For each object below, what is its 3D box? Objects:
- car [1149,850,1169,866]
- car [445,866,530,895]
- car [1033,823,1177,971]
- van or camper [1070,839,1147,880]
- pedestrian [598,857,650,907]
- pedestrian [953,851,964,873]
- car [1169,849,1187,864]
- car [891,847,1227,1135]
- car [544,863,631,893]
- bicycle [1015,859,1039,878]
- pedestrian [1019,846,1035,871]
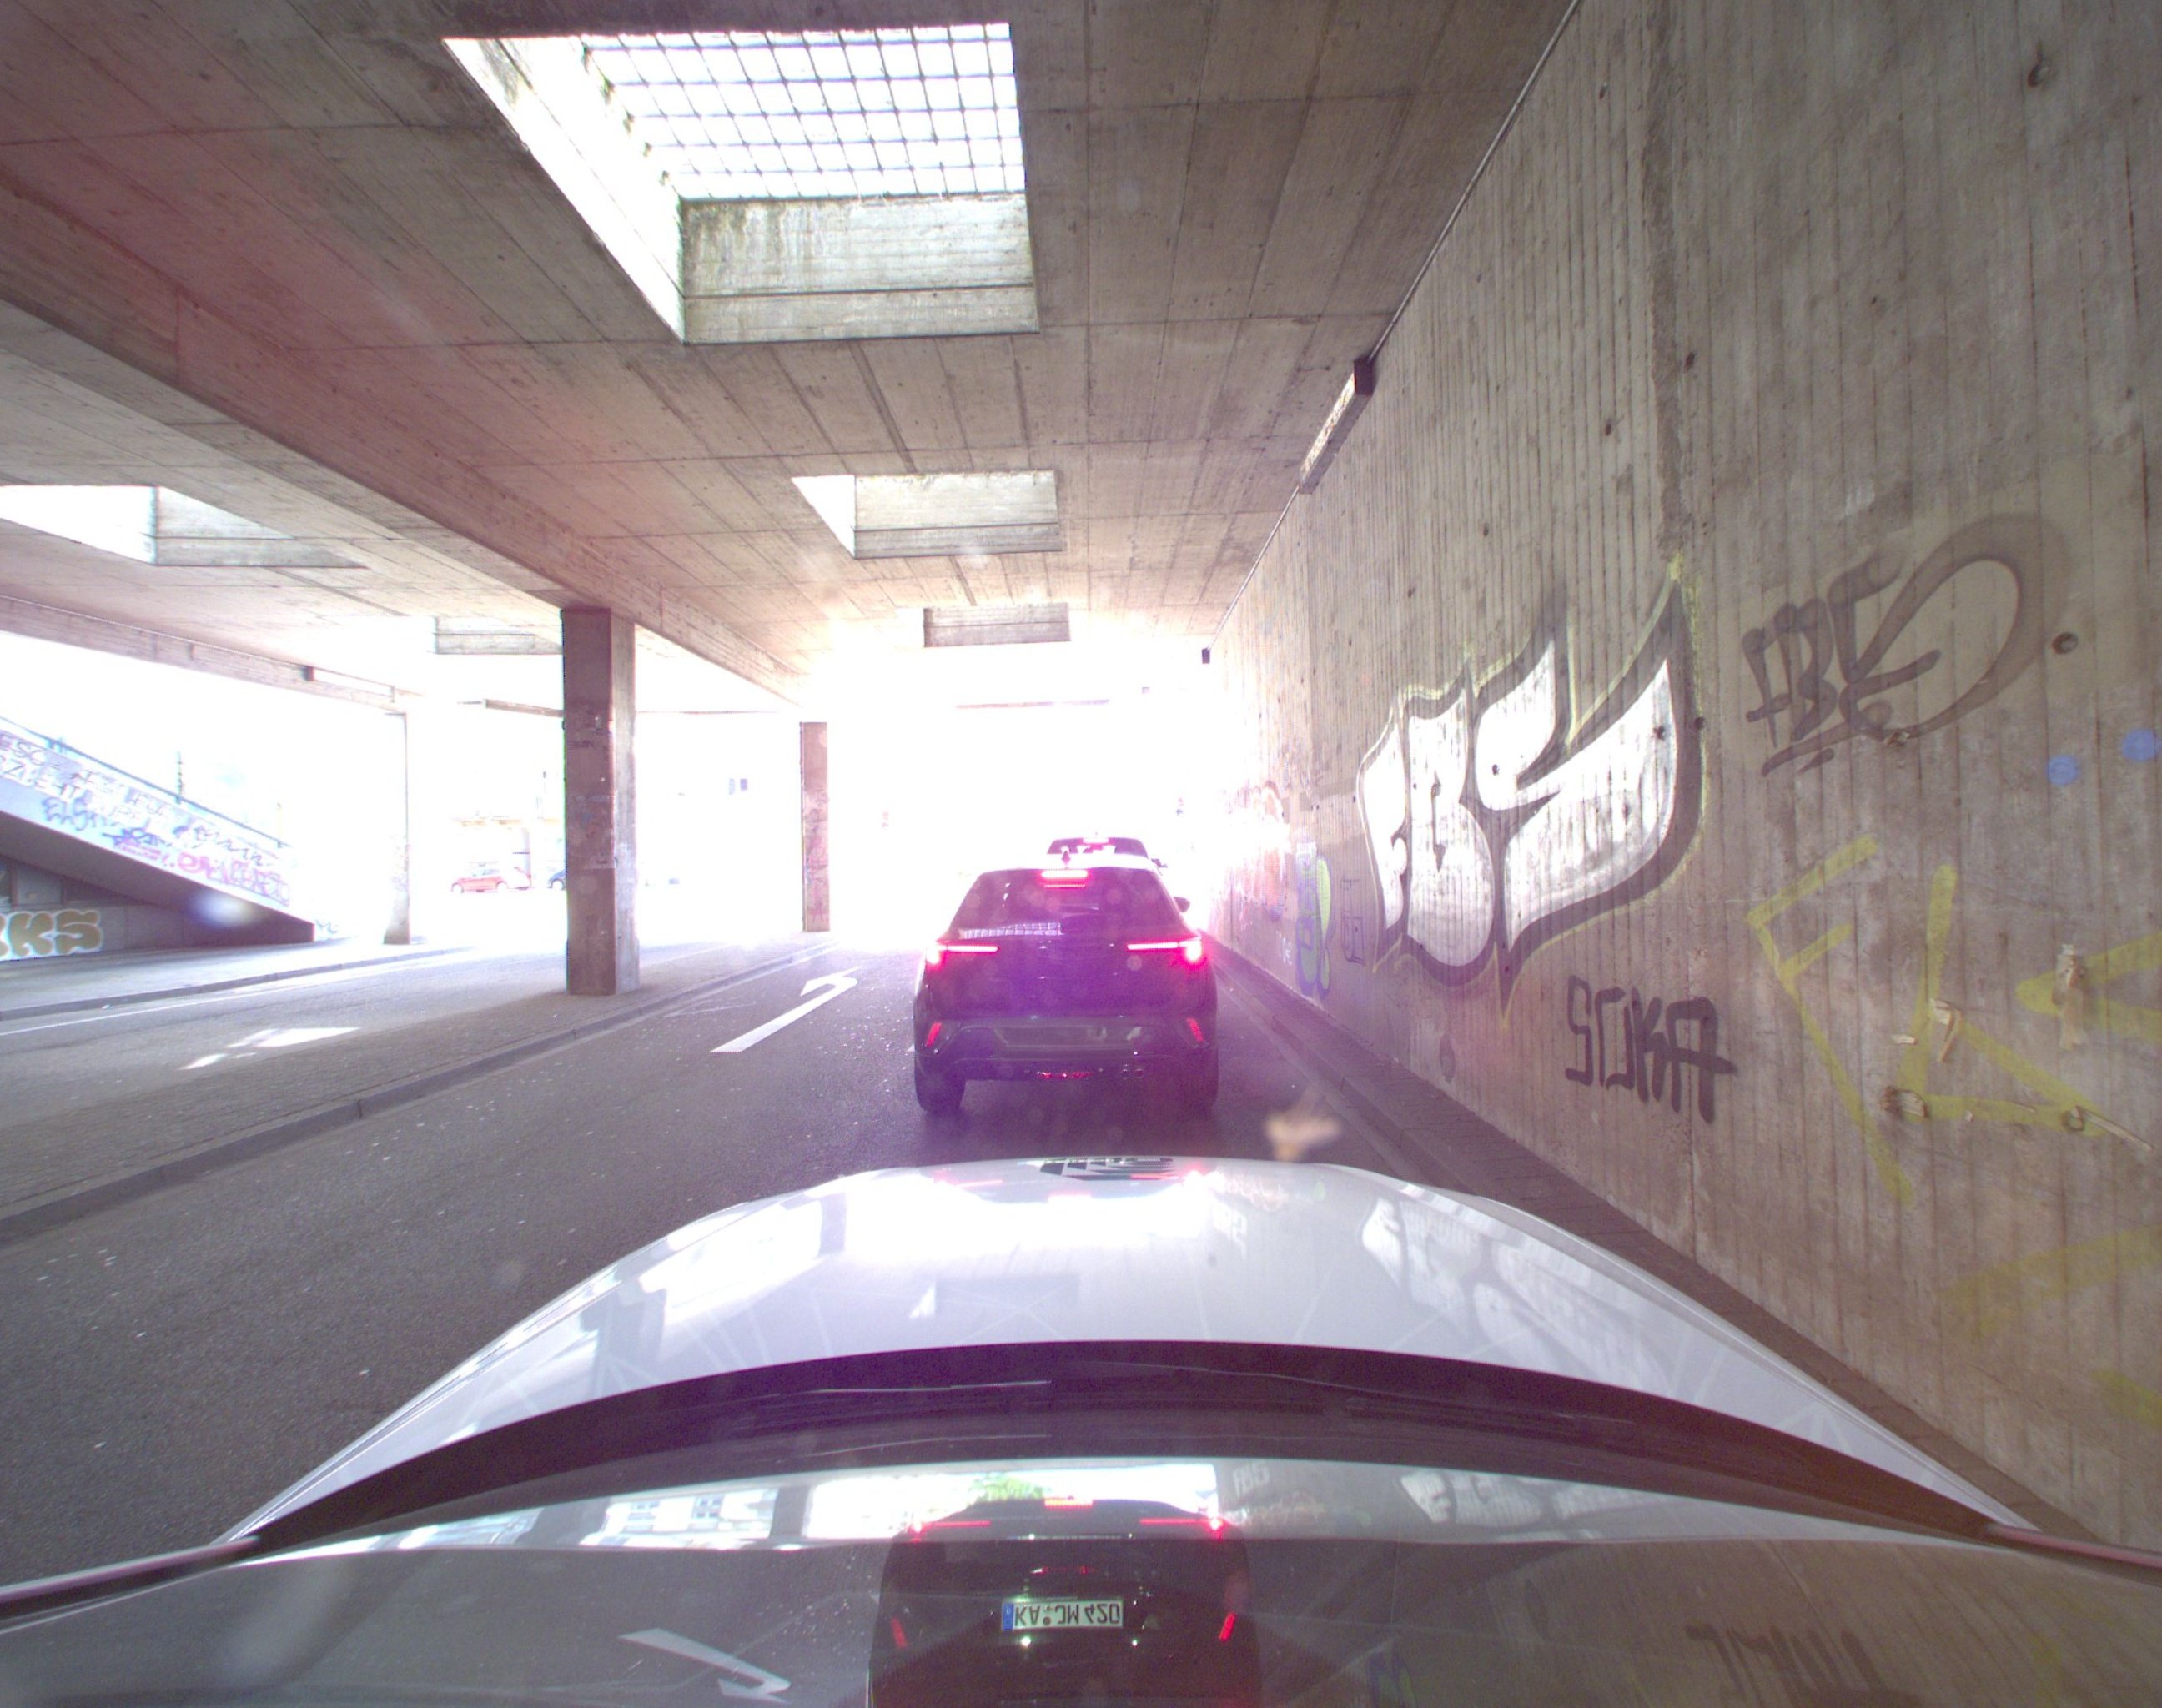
[{"bbox_3d":[7.496,0.396,78.022,1.588,1.452,3.807,-1,0,11],"label":"car"},{"bbox_3d":[-32.844,1.459,45.119,3.519,1.506,1.563,-2,0,2],"label":"car"},{"bbox_3d":[0.363,0.536,12.138,1.779,1.833,3.962,-1,0,2],"label":"car"},{"bbox_3d":[1.504,0.284,43.668,3.854,2.013,2.005,-2,0,9],"label":"van or camper"},{"bbox_3d":[-16.424,1.004,29.280,1.103,1.737,1.146,-2,0,15],"label":"pedestrian"},{"bbox_3d":[-9.690,0.647,64.501,0.618,1.705,0.726,0,-1,15],"label":"pedestrian"},{"bbox_3d":[11.113,0.325,92.992,1.573,1.640,3.819,-2,0,12],"label":"car"},{"bbox_3d":[-0.043,0.712,6.249,1.746,1.498,4.002,0,0,2],"label":"car"},{"bbox_3d":[-27.392,1.306,45.271,3.742,1.508,1.752,-2,0,0],"label":"car"},{"bbox_3d":[-3.413,0.903,51.558,0.730,1.130,2.036,-2,0,19],"label":"bicycle"},{"bbox_3d":[-3.397,0.269,51.645,0.729,1.585,0.894,0,-1,18],"label":"pedestrian"}]
